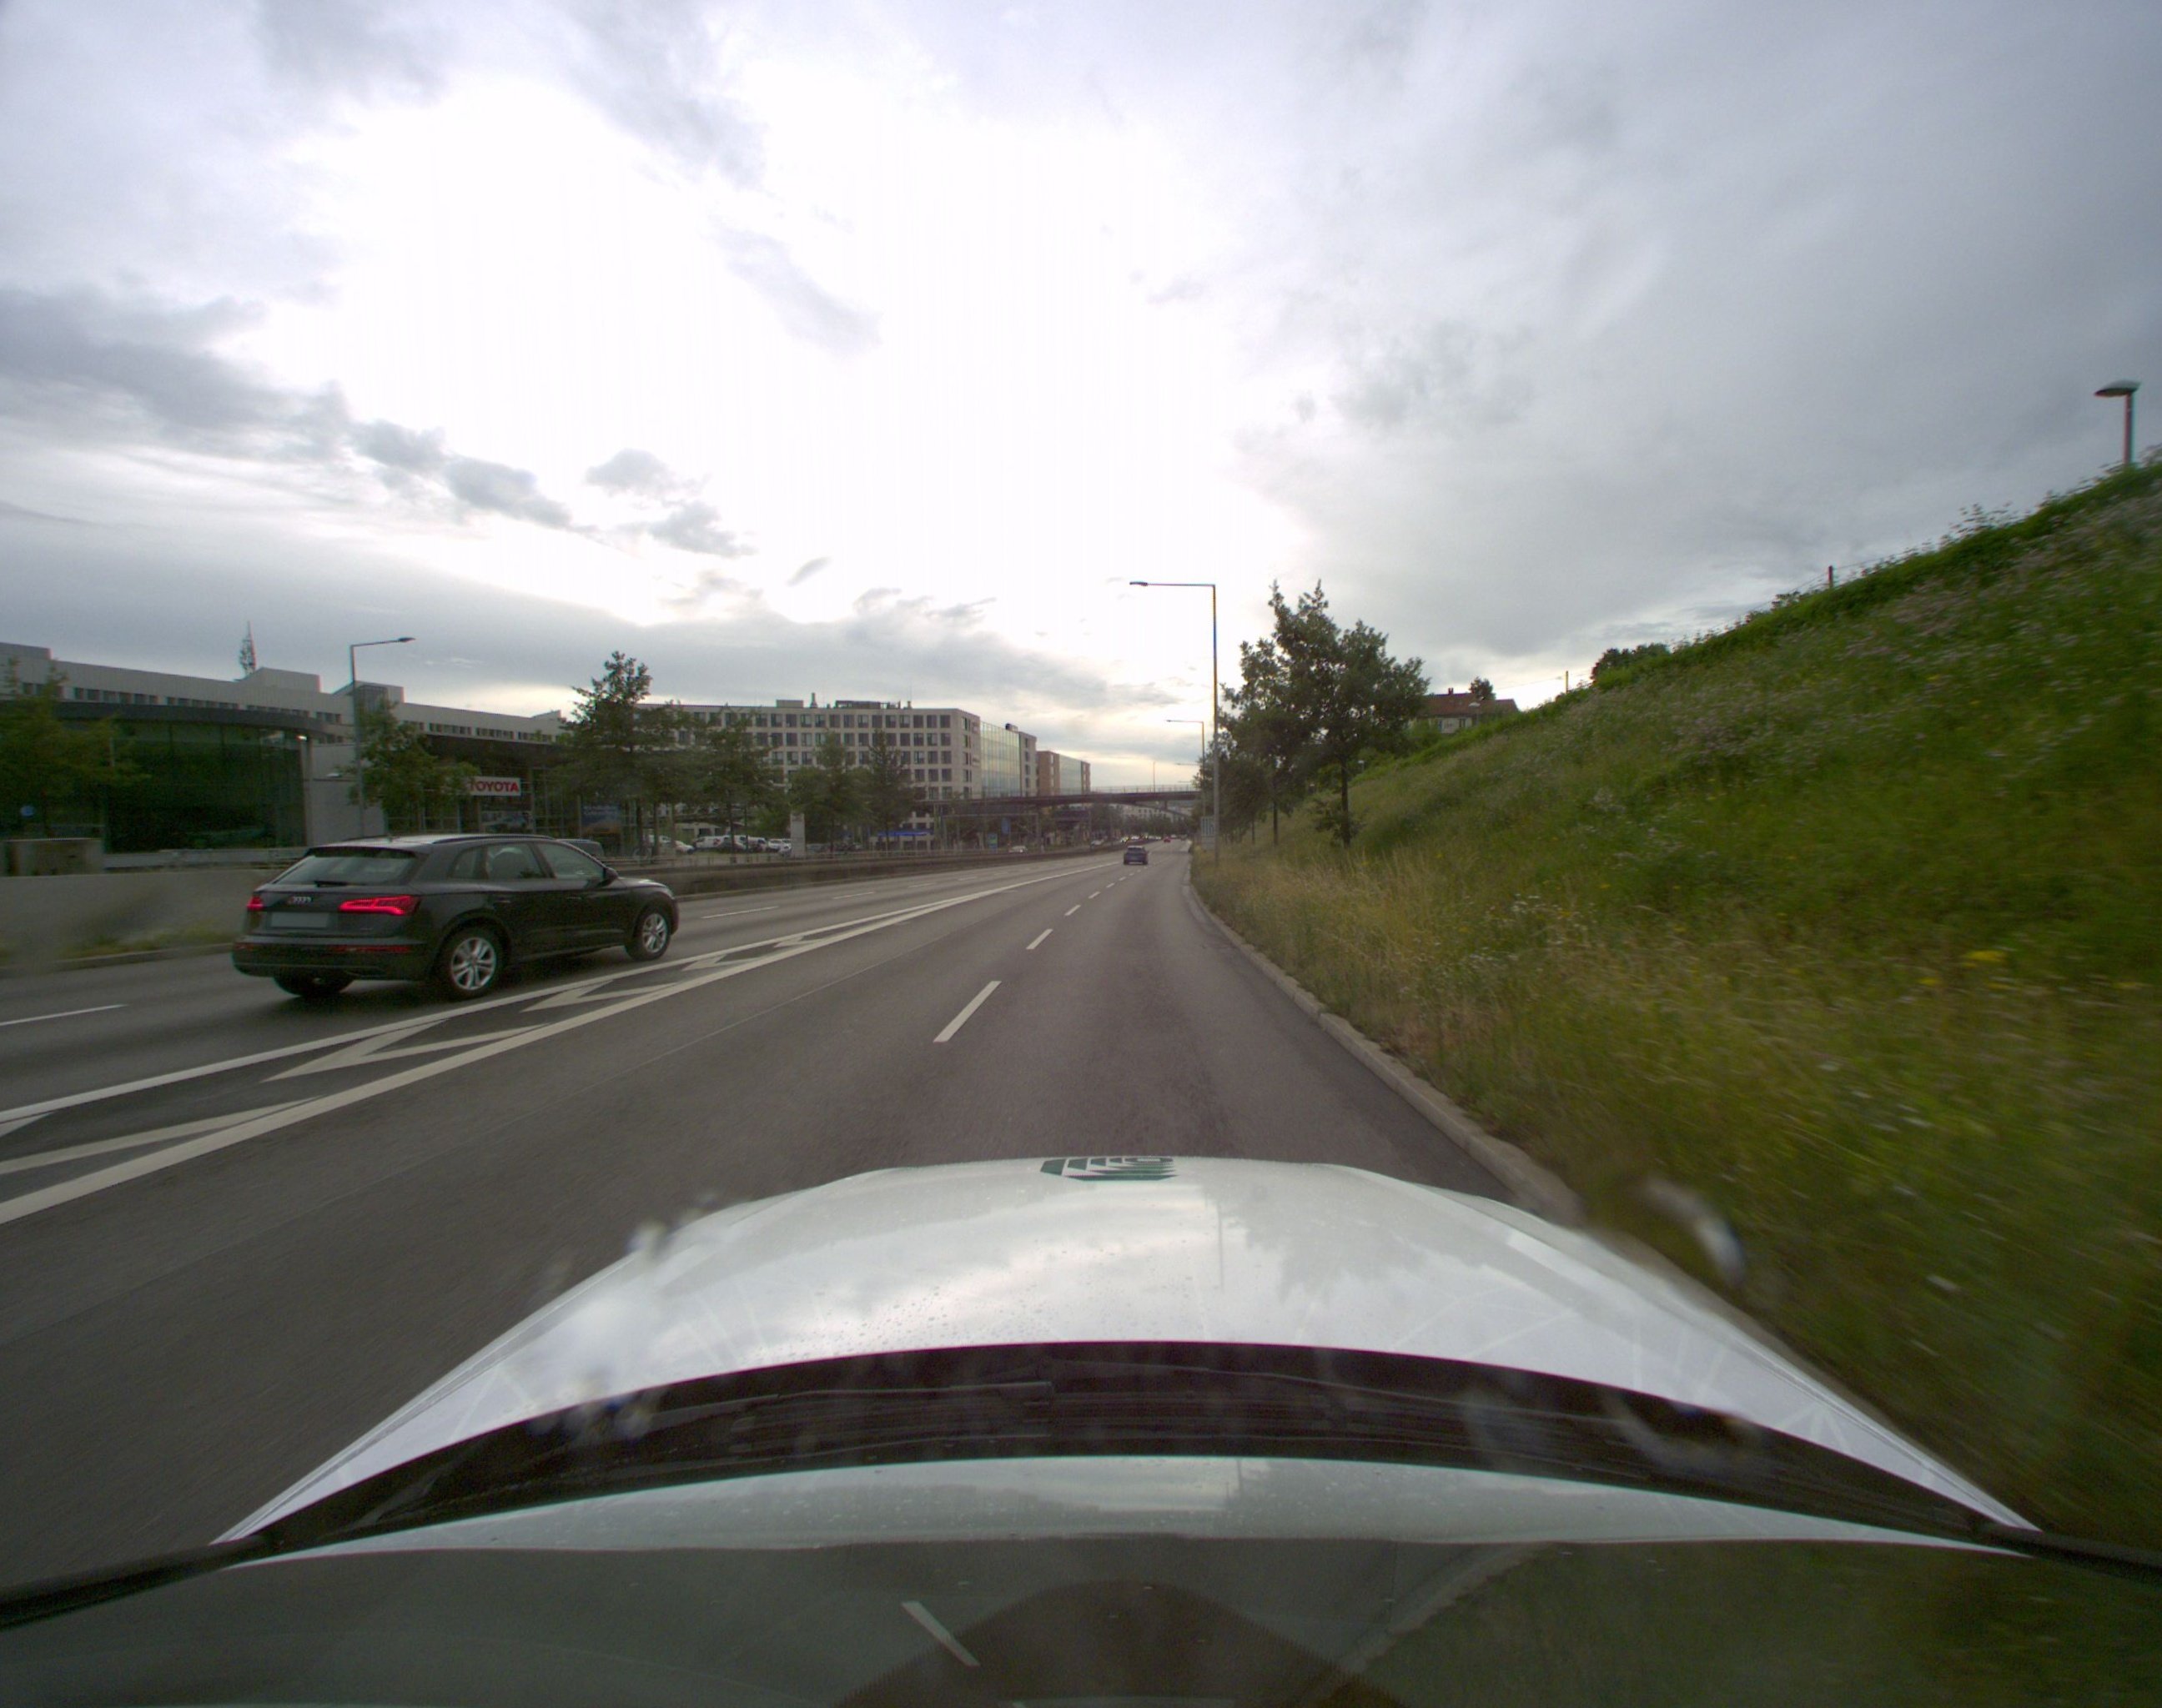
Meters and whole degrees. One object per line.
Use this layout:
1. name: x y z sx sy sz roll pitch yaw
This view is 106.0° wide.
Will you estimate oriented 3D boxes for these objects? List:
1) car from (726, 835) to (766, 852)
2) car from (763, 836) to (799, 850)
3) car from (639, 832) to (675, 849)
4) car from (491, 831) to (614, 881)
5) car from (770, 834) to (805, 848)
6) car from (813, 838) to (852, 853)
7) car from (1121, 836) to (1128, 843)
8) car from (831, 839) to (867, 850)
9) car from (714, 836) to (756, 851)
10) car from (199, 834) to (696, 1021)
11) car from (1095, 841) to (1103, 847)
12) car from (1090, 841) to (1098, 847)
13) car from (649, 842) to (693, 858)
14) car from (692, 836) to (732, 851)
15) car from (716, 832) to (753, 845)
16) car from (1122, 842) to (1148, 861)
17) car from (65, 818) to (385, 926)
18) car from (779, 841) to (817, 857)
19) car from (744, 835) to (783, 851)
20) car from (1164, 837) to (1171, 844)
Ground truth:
1. car: -40.569 -1.227 98.678 3.960 2.013 2.007 0 1 12
2. car: -39.192 -1.509 106.347 3.960 1.650 2.008 2 4 12
3. car: -54.668 -1.812 105.024 4.012 2.048 1.981 -1 4 -30
4. car: -21.164 0.028 32.852 1.983 1.749 4.009 1 3 7
5. car: -39.211 -1.726 108.920 3.960 1.650 2.008 2 4 12
6. car: -30.452 -1.035 99.849 3.963 1.650 2.006 1 2 9
7. car: 13.393 -4.448 252.015 1.983 2.013 4.009 1 4 7
8. car: -29.830 -1.196 104.652 3.963 1.354 1.855 1 2 9
9. car: -40.768 -1.247 95.993 3.967 1.650 2.004 1 4 5
10. car: -6.659 0.609 9.463 1.742 1.617 4.756 0 1 5
11. car: 4.581 -2.580 206.662 1.509 1.420 3.486 -1 1 8
12. car: 3.515 -2.634 219.025 1.509 1.420 3.486 -1 1 8
13. car: -46.056 -0.453 91.520 3.960 1.650 2.008 2 4 12
14. car: -45.514 -1.314 100.530 3.967 1.650 2.004 1 4 5
15. car: -45.404 -2.044 106.791 3.969 1.650 1.824 1 4 4
16. car: 4.310 -0.218 64.659 1.739 1.420 3.486 -1 0 8
17. car: -14.828 0.194 14.435 1.679 1.590 3.556 1 4 6
18. car: -32.093 -0.560 92.266 4.003 1.650 1.986 0 2 -22
19. car: -39.369 -1.357 100.928 3.960 1.875 2.008 2 4 12
20. car: 26.308 -4.117 247.972 1.854 1.749 4.007 1 4 4
